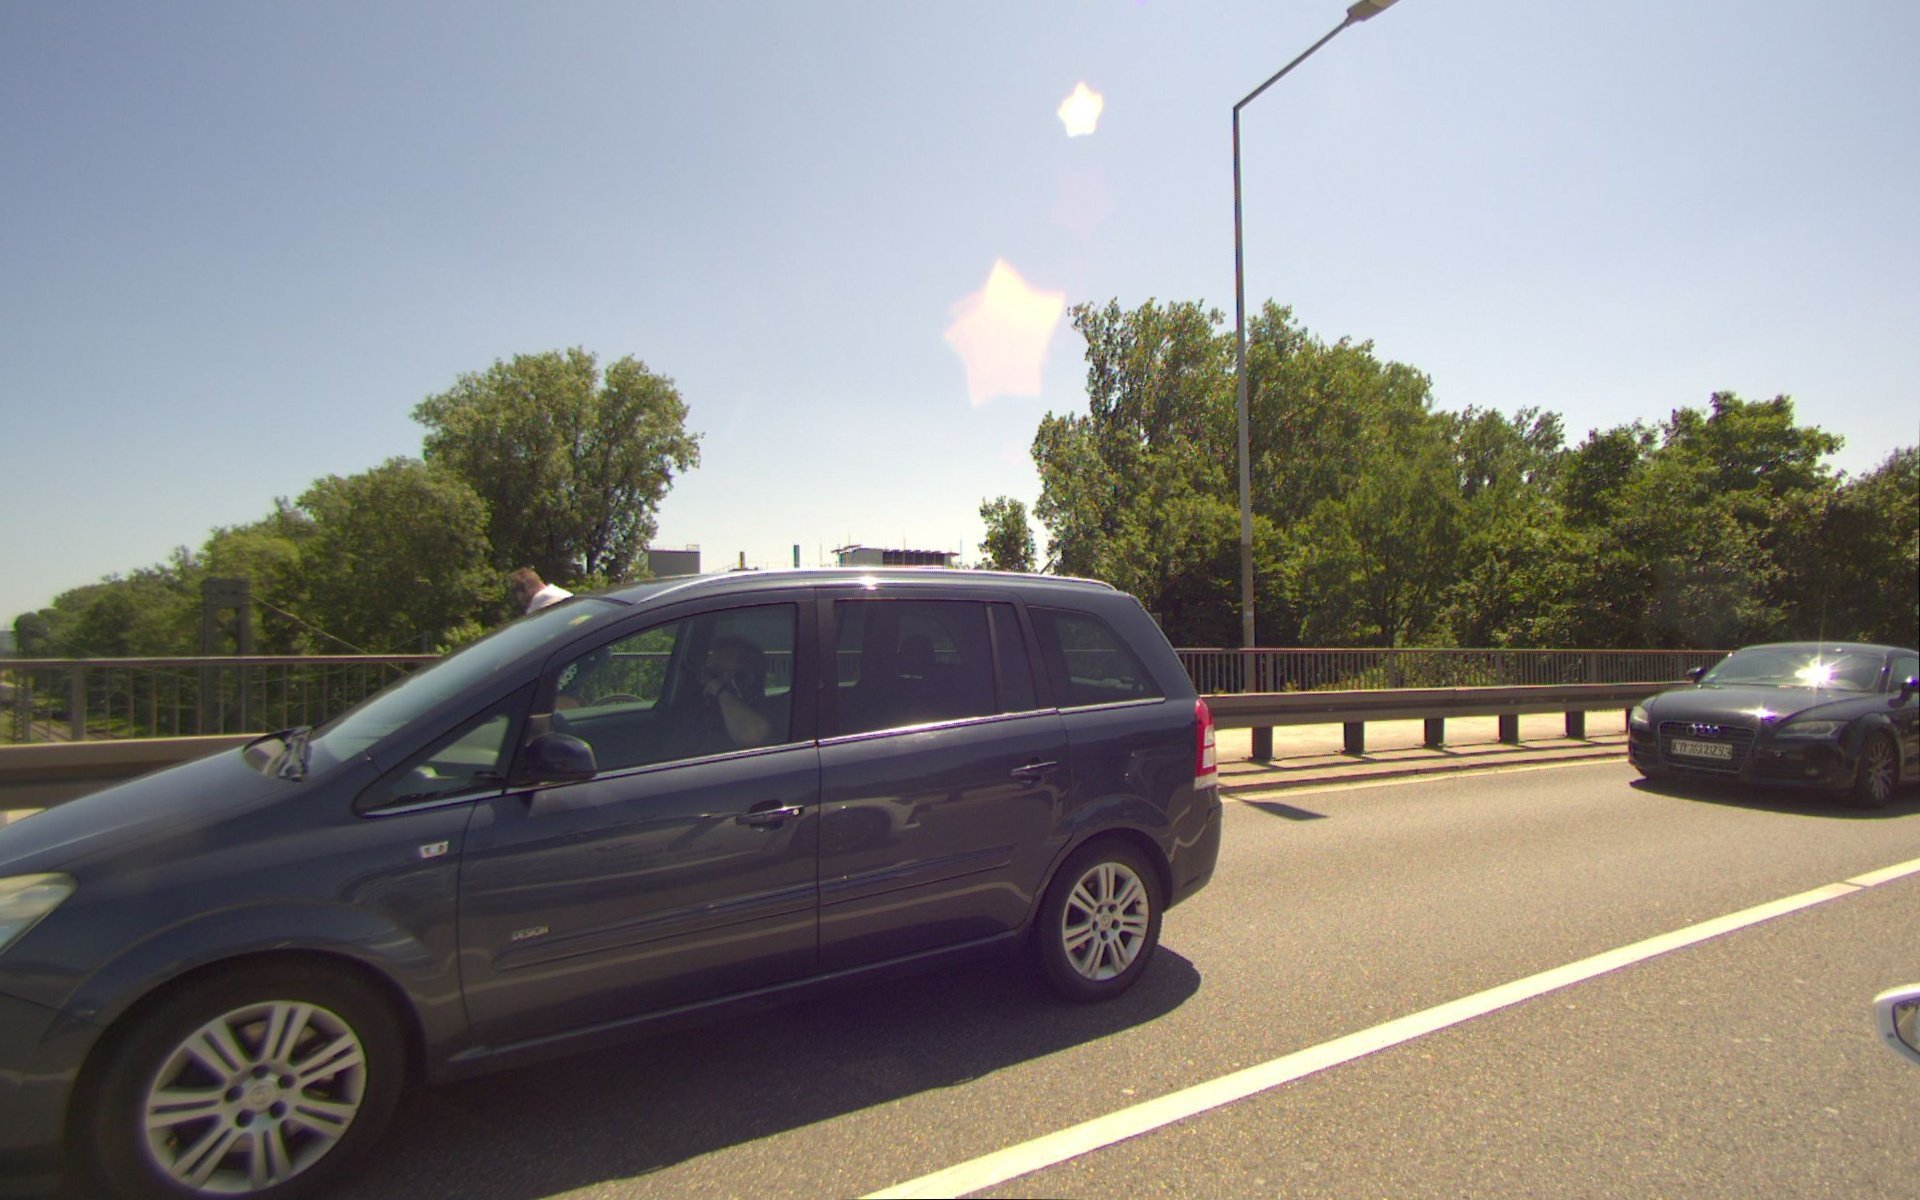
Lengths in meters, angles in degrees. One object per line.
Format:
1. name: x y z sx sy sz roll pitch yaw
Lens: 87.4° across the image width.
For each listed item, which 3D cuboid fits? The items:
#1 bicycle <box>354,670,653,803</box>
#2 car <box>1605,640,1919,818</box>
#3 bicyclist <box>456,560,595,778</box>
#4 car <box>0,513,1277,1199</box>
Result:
1. bicycle: -3.372 0.974 7.526 1.968 0.844 0.585 1 -1 -30
2. car: 8.053 1.066 9.396 3.922 1.325 1.672 1 -1 -27
3. bicyclist: -3.279 0.501 7.585 0.885 1.541 0.580 1 -1 -30
4. car: -0.906 0.679 3.793 4.206 1.648 1.697 1 0 -32
